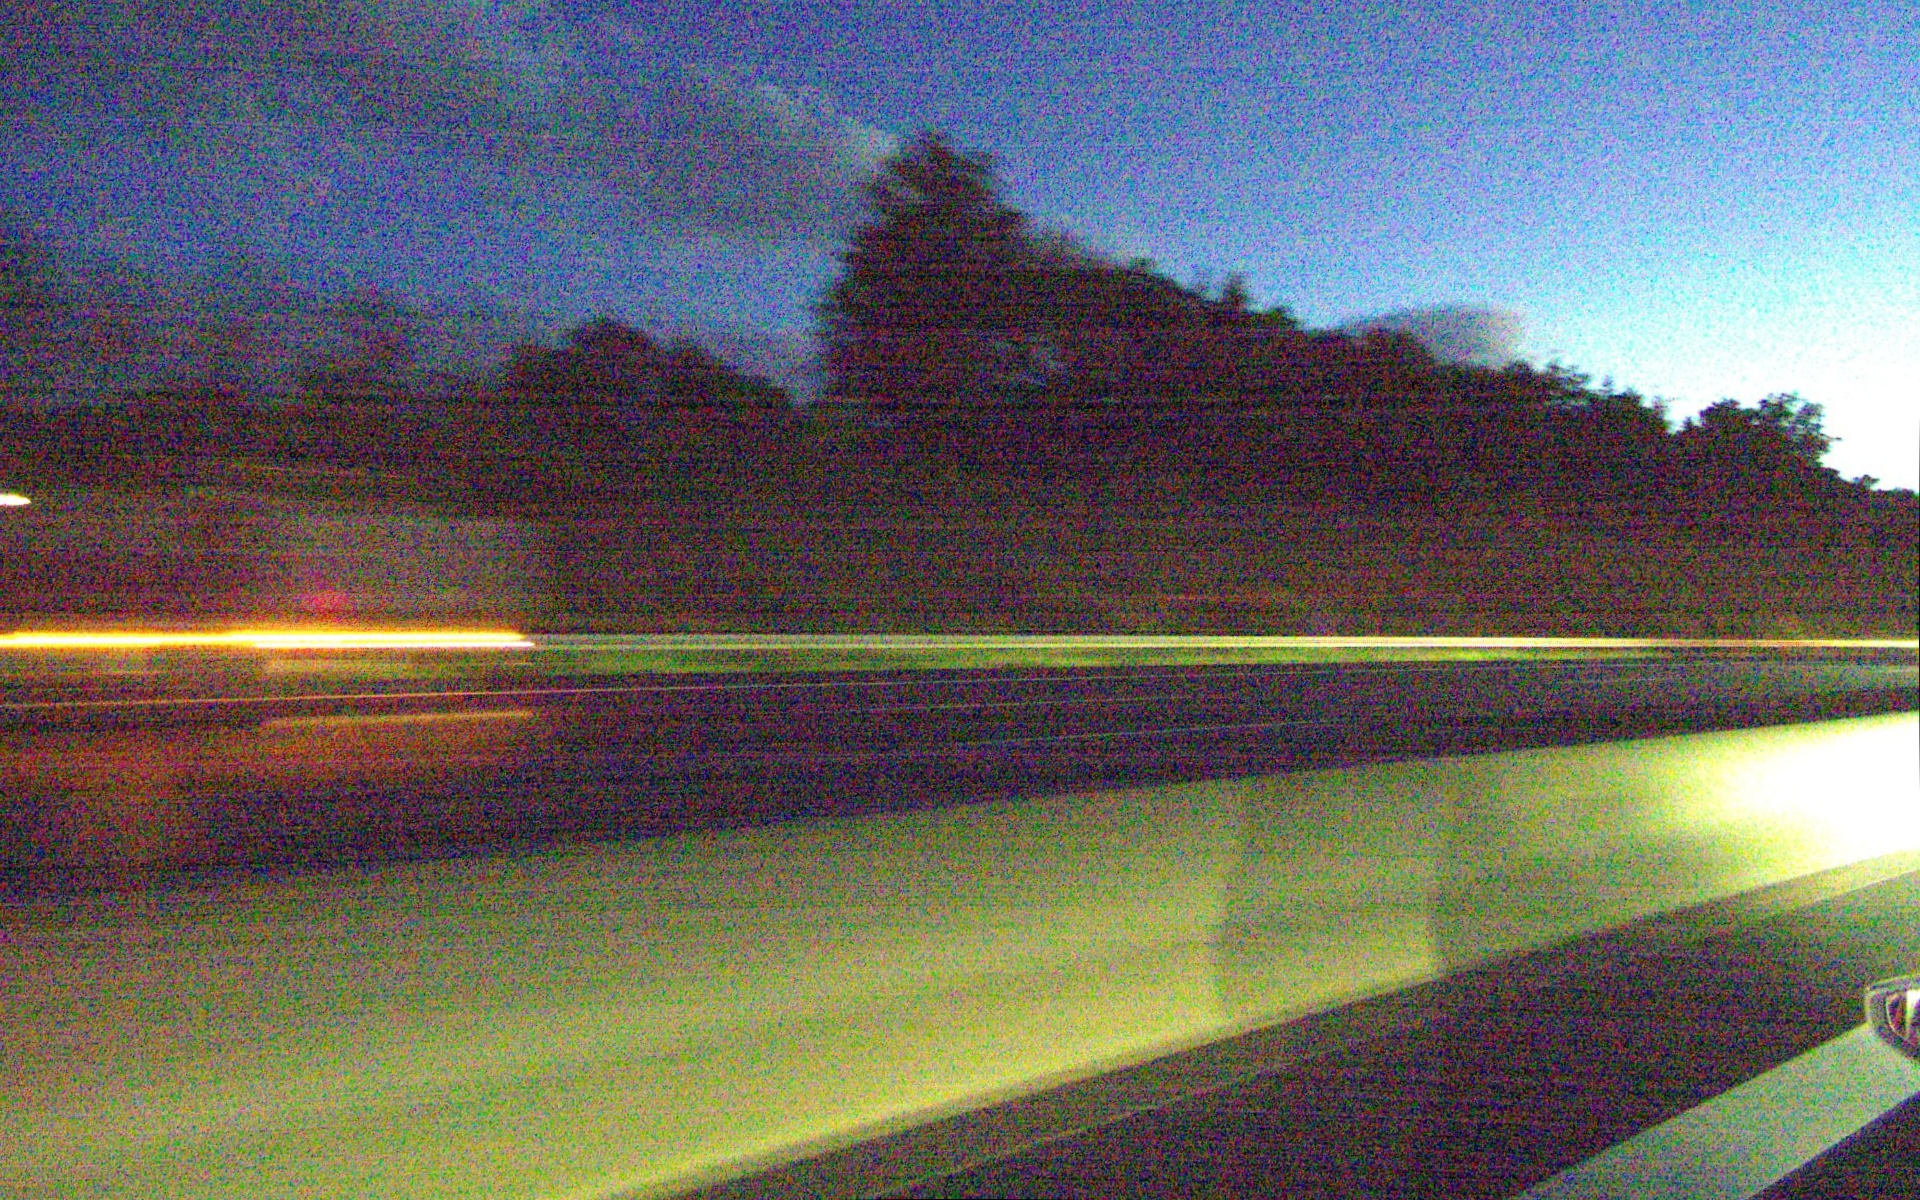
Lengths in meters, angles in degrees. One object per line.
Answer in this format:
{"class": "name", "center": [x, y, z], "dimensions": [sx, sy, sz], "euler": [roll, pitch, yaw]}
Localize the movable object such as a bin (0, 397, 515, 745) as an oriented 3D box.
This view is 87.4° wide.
{"class": "movable object such as a bin", "center": [-9.219, -0.266, 11.471], "dimensions": [7.350, 3.462, 2.197], "euler": [1, 0, -30]}
